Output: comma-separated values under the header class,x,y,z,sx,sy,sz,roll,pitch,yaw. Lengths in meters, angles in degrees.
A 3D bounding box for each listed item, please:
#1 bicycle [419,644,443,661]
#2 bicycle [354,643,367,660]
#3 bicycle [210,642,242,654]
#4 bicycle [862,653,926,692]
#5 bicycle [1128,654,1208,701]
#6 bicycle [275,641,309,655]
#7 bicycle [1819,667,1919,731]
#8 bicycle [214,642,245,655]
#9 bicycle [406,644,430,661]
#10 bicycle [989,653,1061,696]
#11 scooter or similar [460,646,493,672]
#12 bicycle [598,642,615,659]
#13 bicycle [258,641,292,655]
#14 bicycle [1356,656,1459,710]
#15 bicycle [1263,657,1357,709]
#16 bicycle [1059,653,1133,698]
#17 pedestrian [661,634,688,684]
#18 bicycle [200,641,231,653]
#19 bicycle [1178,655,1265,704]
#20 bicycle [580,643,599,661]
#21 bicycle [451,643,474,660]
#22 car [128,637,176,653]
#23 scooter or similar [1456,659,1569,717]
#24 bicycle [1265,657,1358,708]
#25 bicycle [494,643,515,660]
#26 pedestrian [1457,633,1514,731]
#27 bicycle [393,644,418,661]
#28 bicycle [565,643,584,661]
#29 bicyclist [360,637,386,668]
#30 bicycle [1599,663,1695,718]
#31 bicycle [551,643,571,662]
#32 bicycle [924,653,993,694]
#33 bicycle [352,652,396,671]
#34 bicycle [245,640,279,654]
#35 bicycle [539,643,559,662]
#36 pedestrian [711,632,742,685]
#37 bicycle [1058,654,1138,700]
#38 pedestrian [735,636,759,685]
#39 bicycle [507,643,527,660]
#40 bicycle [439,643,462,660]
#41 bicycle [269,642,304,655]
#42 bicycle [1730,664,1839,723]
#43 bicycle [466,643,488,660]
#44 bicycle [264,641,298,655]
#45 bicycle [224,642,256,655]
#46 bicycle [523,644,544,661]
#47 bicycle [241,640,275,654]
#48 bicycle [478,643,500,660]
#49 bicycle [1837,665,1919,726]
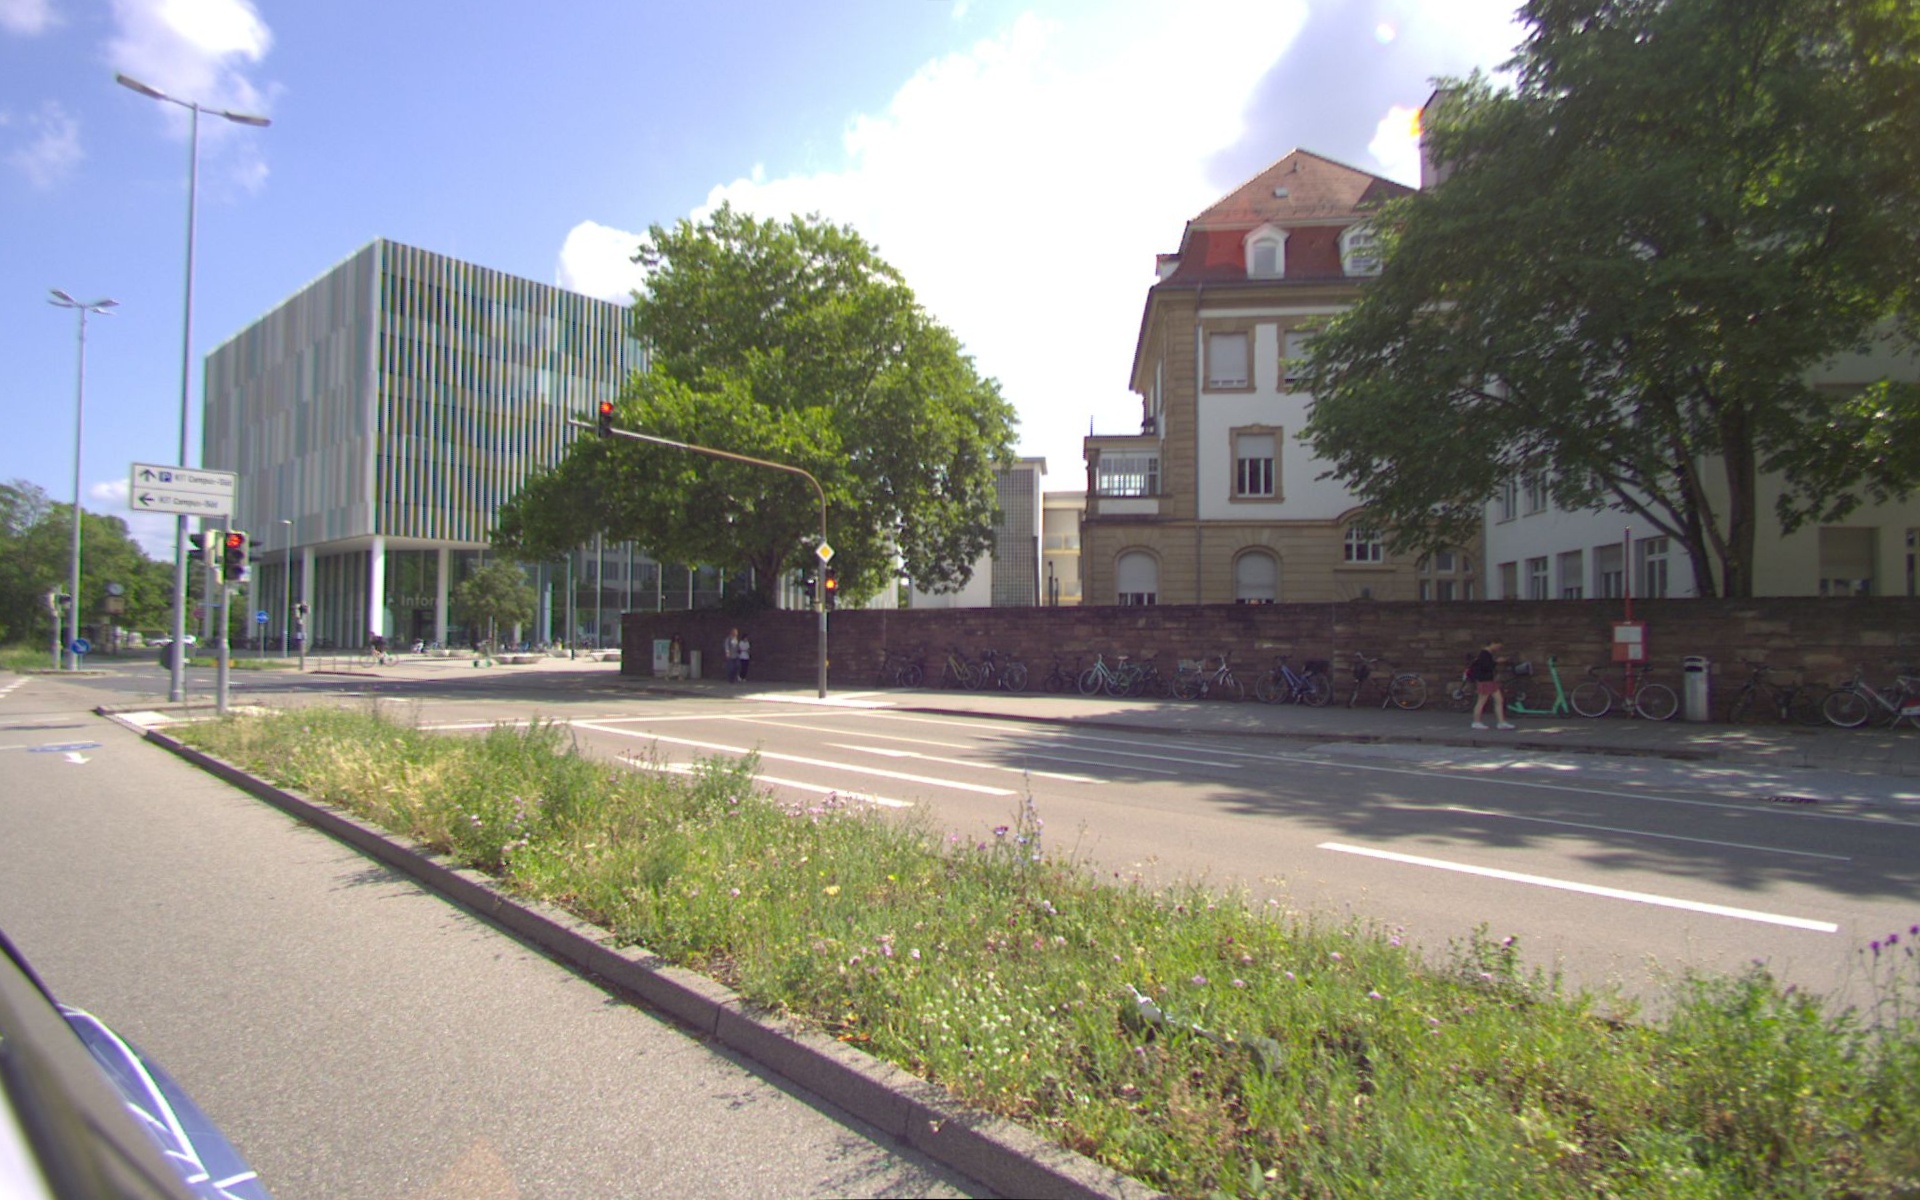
class,x,y,z,sx,sy,sz,roll,pitch,yaw
bicycle,-35.221,3.489,67.441,0.711,1.105,2.222,0,-2,-9
bicycle,-40.103,3.451,67.701,0.539,1.105,1.637,2,-3,-37
bicycle,-66.276,4.358,91.428,0.721,1.098,2.191,-2,-3,36
bicycle,-1.892,2.060,28.978,1.877,1.056,0.624,-1,-3,35
bicycle,4.929,1.822,24.062,1.877,1.056,0.367,-1,-3,35
bicycle,-53.691,3.875,81.367,0.721,1.105,2.191,-2,-3,36
bicycle,14.907,1.582,16.249,0.361,0.962,1.628,2,-3,-37
bicycle,-65.566,4.354,90.845,0.721,1.105,2.191,-2,-3,36
bicycle,-36.008,3.475,67.290,0.711,1.105,2.222,0,-2,-9
bicycle,1.675,1.933,26.352,1.877,1.056,0.559,-1,-3,35
scooter or similar,-22.224,2.708,46.521,0.499,1.166,1.494,-1,-3,16
bicycle,-23.280,3.331,66.676,0.711,1.105,2.222,0,-2,-9
bicycle,-57.166,3.985,84.469,0.721,1.105,2.191,-2,-3,36
bicycle,9.247,1.701,20.956,1.877,1.056,0.575,-1,-3,35
bicycle,7.517,1.761,21.808,1.877,1.056,0.369,-1,-3,35
bicycle,3.382,1.864,25.201,1.877,1.056,0.367,-1,-3,35
pedestrian,-9.666,1.998,34.301,0.726,1.664,0.555,-2,-3,39
bicycle,-69.782,4.365,94.824,0.721,1.105,2.191,-2,-3,36
bicycle,5.924,1.782,22.916,1.867,1.056,0.590,-1,-2,20
bicycle,-24.554,3.434,67.115,0.735,1.199,2.323,0,-2,-9
bicycle,-33.233,3.436,67.611,0.711,1.105,2.222,0,-2,-9
car,-89.665,5.015,112.279,1.646,1.699,3.943,-2,-3,43
scooter or similar,10.815,1.707,19.847,1.877,1.056,0.575,-1,-3,35
bicycle,7.683,1.782,22.169,1.877,1.056,0.390,-1,-3,35
bicycle,-30.191,3.378,67.080,0.711,1.105,2.222,0,-2,-9
pedestrian,8.987,1.380,17.315,0.743,1.622,0.650,-2,-2,37
bicycle,-36.752,3.472,67.118,0.711,1.105,2.222,0,-2,-9
bicycle,-25.503,3.441,66.953,0.735,1.199,2.323,0,-2,-9
bicyclist,-28.629,2.557,49.371,0.931,1.475,0.633,1,-3,-14
bicycle,12.623,1.648,18.629,1.396,0.962,0.364,-1,-3,29
bicycle,-26.416,3.453,67.002,0.735,1.199,2.323,0,-2,-9
bicycle,-0.044,1.978,27.542,1.877,1.056,0.624,-1,-3,35
bicycle,-28.571,2.979,49.363,1.746,0.899,0.640,1,-3,-14
bicycle,-58.997,3.961,85.552,0.721,1.105,2.191,-2,-3,36
bicycle,-27.222,3.463,67.025,0.735,1.199,2.323,0,-2,-9
pedestrian,-7.433,1.860,32.254,0.730,1.664,0.634,-2,-3,39
bicycle,3.328,1.848,24.534,1.877,1.056,0.586,-1,-3,35
pedestrian,-6.909,1.951,32.814,0.616,1.552,0.471,-2,-3,39
bicycle,-29.440,3.392,67.261,0.711,1.105,2.222,0,-2,-9
bicycle,-33.993,3.446,67.501,0.711,1.105,2.222,0,-2,-9
bicycle,-54.523,3.917,81.974,0.754,1.105,2.191,-2,-3,36
bicycle,14.281,1.608,17.571,1.396,0.962,0.364,-1,-3,29
bicycle,-31.882,3.409,66.777,0.711,1.105,2.222,0,-2,-9
bicycle,-56.096,3.952,83.577,0.734,1.105,2.191,-2,-3,36
bicycle,-63.708,4.311,89.553,0.721,1.105,2.191,-2,-3,36
bicycle,-28.282,3.478,67.189,0.735,1.146,2.323,0,-2,-9
bicycle,-59.717,3.989,86.097,0.721,1.105,2.191,-2,-3,36
bicycle,-31.096,3.386,66.881,0.711,1.105,2.222,0,-2,-9
bicycle,15.495,1.576,16.746,1.396,0.962,0.364,-1,-3,29
